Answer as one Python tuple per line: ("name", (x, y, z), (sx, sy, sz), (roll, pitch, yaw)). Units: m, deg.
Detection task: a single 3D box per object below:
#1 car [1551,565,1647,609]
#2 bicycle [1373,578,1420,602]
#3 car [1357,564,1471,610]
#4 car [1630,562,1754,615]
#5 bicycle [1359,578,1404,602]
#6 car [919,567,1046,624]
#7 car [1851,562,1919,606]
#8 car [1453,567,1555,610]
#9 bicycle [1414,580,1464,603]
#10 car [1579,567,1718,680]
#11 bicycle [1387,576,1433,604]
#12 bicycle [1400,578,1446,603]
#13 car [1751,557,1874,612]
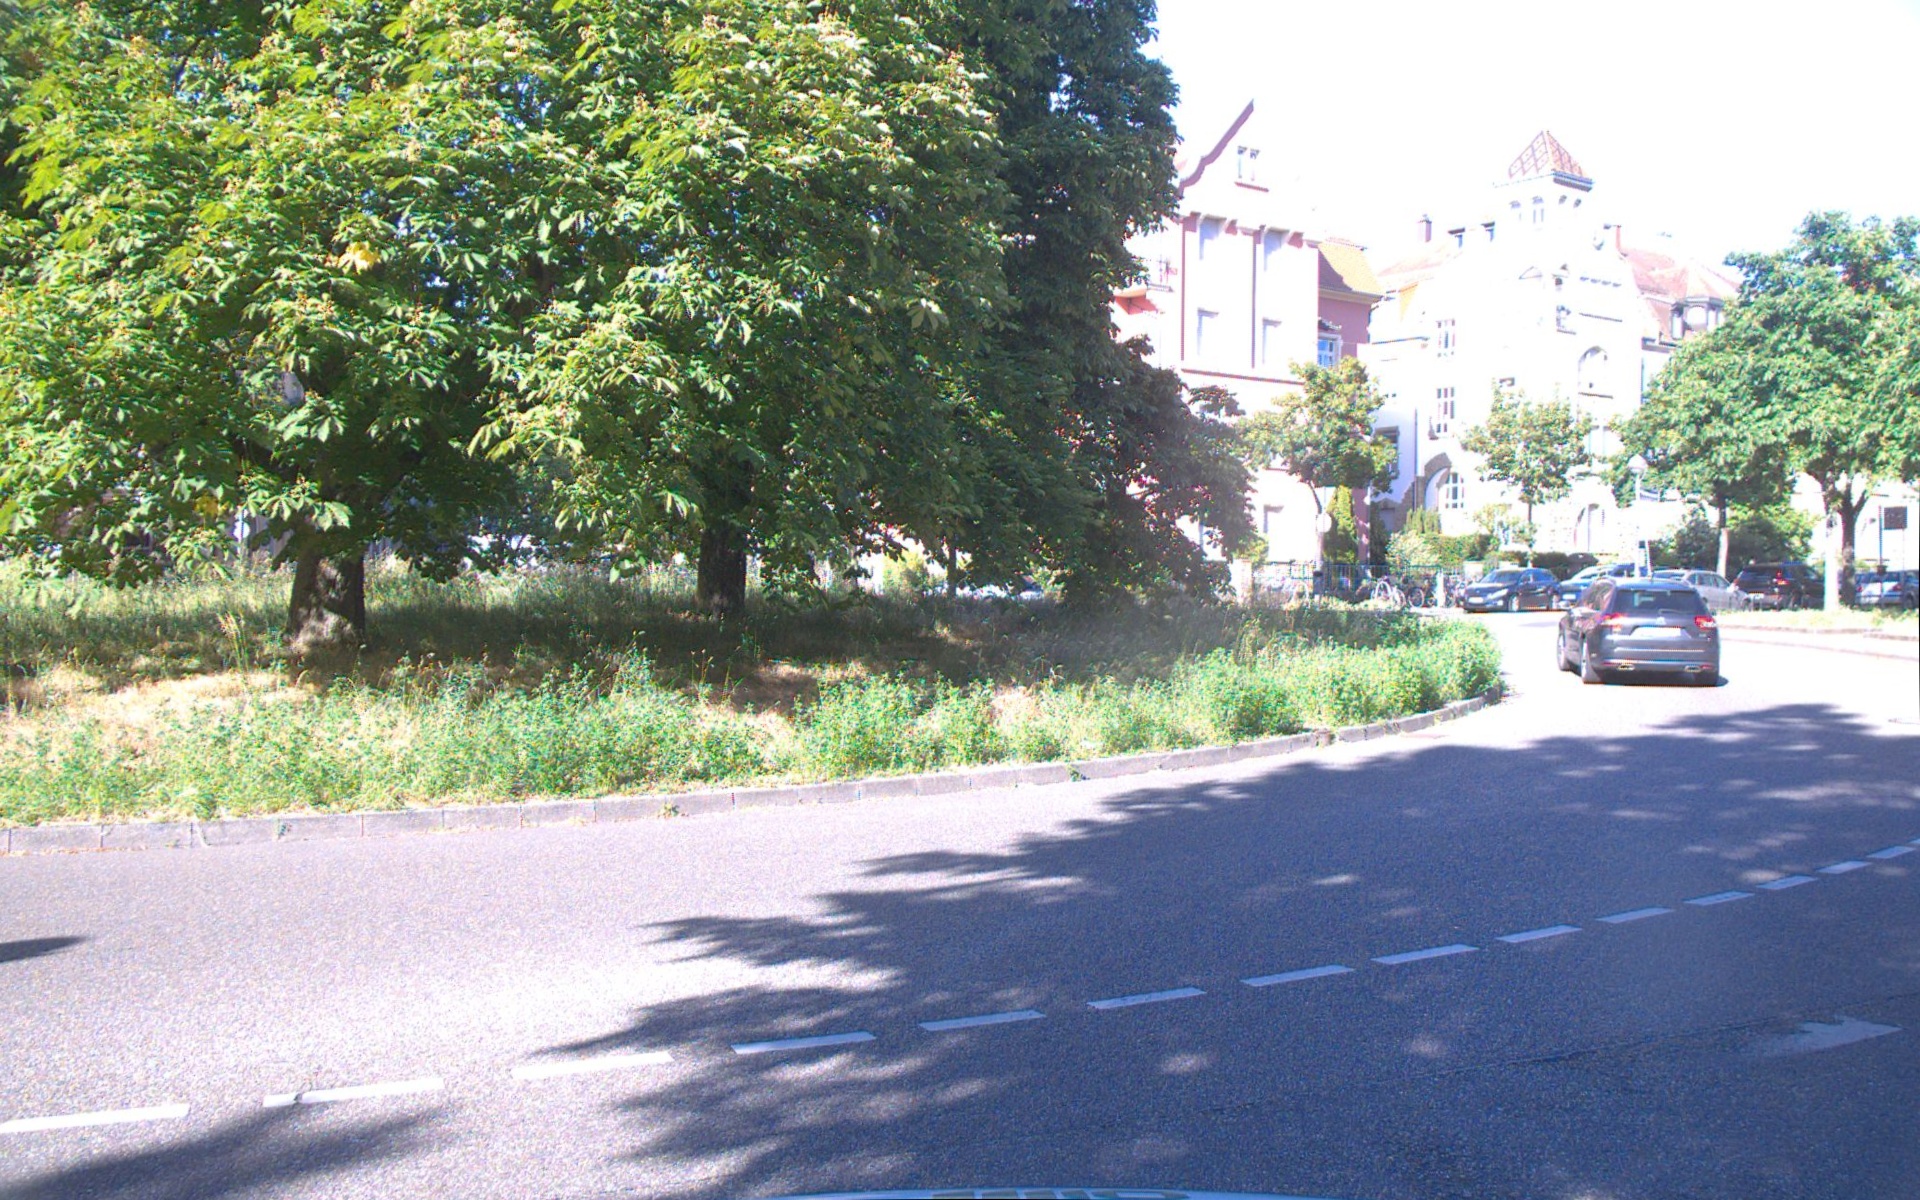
("car", (22.885, -0.476, 59.182), (3.438, 1.514, 1.650), (-1, 1, -37))
("bicycle", (15.146, -0.354, 57.442), (0.470, 0.814, 2.277), (0, 1, -15))
("car", (14.423, -0.447, 52.491), (3.610, 1.393, 1.735), (-1, 2, -40))
("car", (21.410, -0.362, 48.318), (3.932, 1.480, 1.541), (-1, 1, -36))
("bicycle", (14.567, -0.362, 57.228), (0.470, 0.814, 2.016), (0, 1, -20))
("car", (0.630, -0.166, 48.090), (3.582, 1.579, 1.550), (1, 1, 43))
("car", (31.932, -0.566, 56.097), (3.415, 1.461, 1.642), (-1, 1, -34))
("car", (18.435, -0.412, 56.002), (3.613, 1.393, 1.733), (-1, 2, -42))
("bicycle", (17.030, -0.312, 58.842), (0.614, 0.799, 2.277), (0, 1, -16))
("car", (10.143, 0.276, 24.587), (1.678, 1.508, 4.146), (0, 1, 19))
("bicycle", (15.696, -0.369, 57.756), (0.470, 0.930, 2.277), (0, 1, -15))
("bicycle", (16.390, -0.338, 58.599), (0.470, 0.837, 2.277), (0, 1, -15))
("car", (23.588, -0.449, 45.725), (3.695, 1.480, 1.541), (-1, 1, -36))
